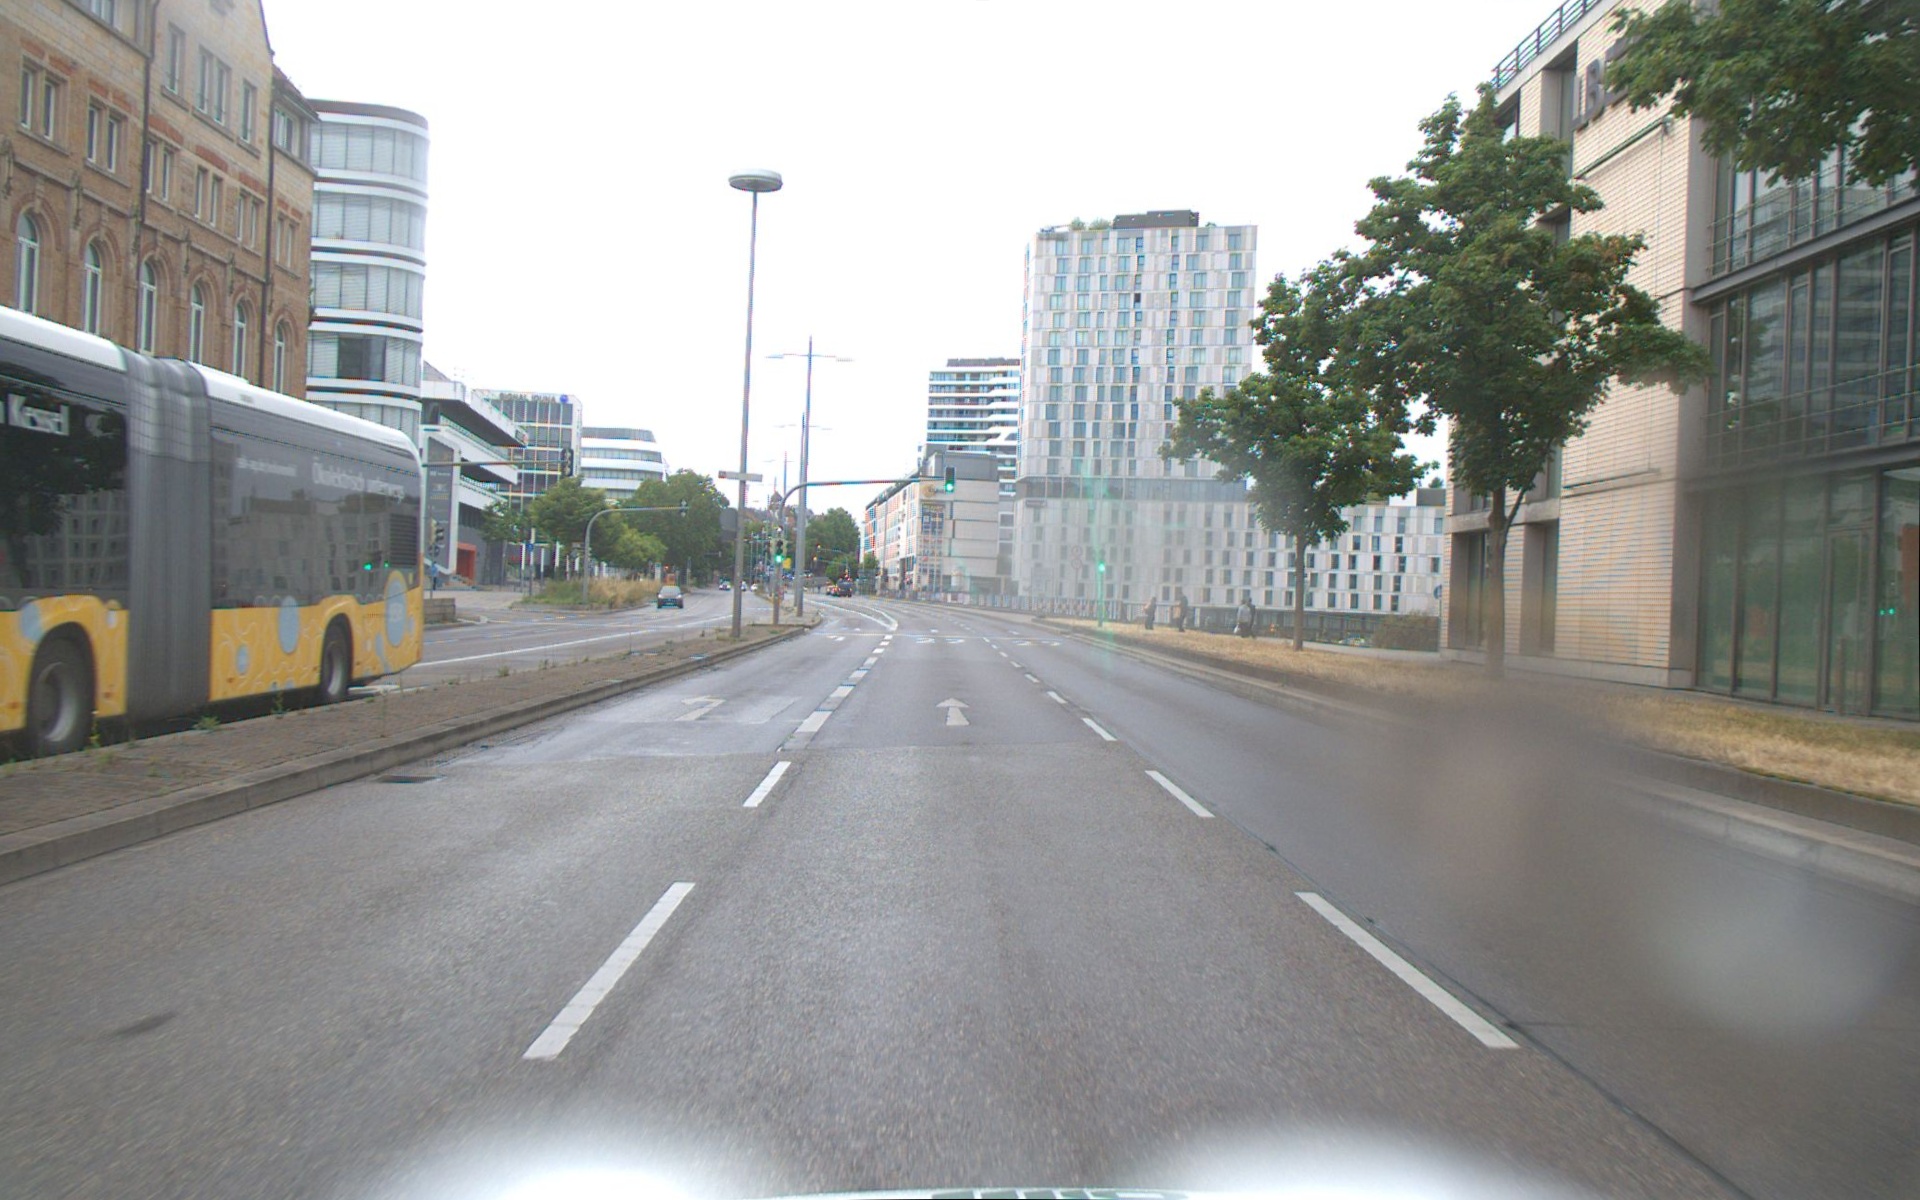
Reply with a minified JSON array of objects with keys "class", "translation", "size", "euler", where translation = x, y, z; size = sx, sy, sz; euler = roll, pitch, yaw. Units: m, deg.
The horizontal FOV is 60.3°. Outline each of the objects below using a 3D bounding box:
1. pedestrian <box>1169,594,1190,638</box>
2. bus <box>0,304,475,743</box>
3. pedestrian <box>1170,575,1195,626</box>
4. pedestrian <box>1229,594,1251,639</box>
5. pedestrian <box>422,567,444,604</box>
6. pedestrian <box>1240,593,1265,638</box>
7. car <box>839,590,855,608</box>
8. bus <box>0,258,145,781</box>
[{"class":"pedestrian","translation":[8.140,0.602,61.373],"size":[0.540,1.605,0.669],"euler":[2,2,33]},{"class":"bus","translation":[-8.192,-0.708,18.744],"size":[2.644,3.621,10.090],"euler":[1,1,-2]},{"class":"pedestrian","translation":[8.247,0.027,61.382],"size":[0.542,1.873,0.777],"euler":[2,2,45]},{"class":"pedestrian","translation":[10.218,0.604,60.332],"size":[0.540,1.605,0.669],"euler":[2,2,33]},{"class":"pedestrian","translation":[-30.087,-0.839,94.494],"size":[1.009,2.048,0.715],"euler":[1,1,-2]},{"class":"pedestrian","translation":[10.793,0.564,61.082],"size":[0.657,1.605,0.666],"euler":[2,2,36]},{"class":"car","translation":[-16.047,-0.146,235.432],"size":[1.954,2.384,3.998],"euler":[-3,0,-2]},{"class":"bus","translation":[-7.891,-0.574,8.460],"size":[2.644,3.621,10.090],"euler":[1,0,-2]}]
